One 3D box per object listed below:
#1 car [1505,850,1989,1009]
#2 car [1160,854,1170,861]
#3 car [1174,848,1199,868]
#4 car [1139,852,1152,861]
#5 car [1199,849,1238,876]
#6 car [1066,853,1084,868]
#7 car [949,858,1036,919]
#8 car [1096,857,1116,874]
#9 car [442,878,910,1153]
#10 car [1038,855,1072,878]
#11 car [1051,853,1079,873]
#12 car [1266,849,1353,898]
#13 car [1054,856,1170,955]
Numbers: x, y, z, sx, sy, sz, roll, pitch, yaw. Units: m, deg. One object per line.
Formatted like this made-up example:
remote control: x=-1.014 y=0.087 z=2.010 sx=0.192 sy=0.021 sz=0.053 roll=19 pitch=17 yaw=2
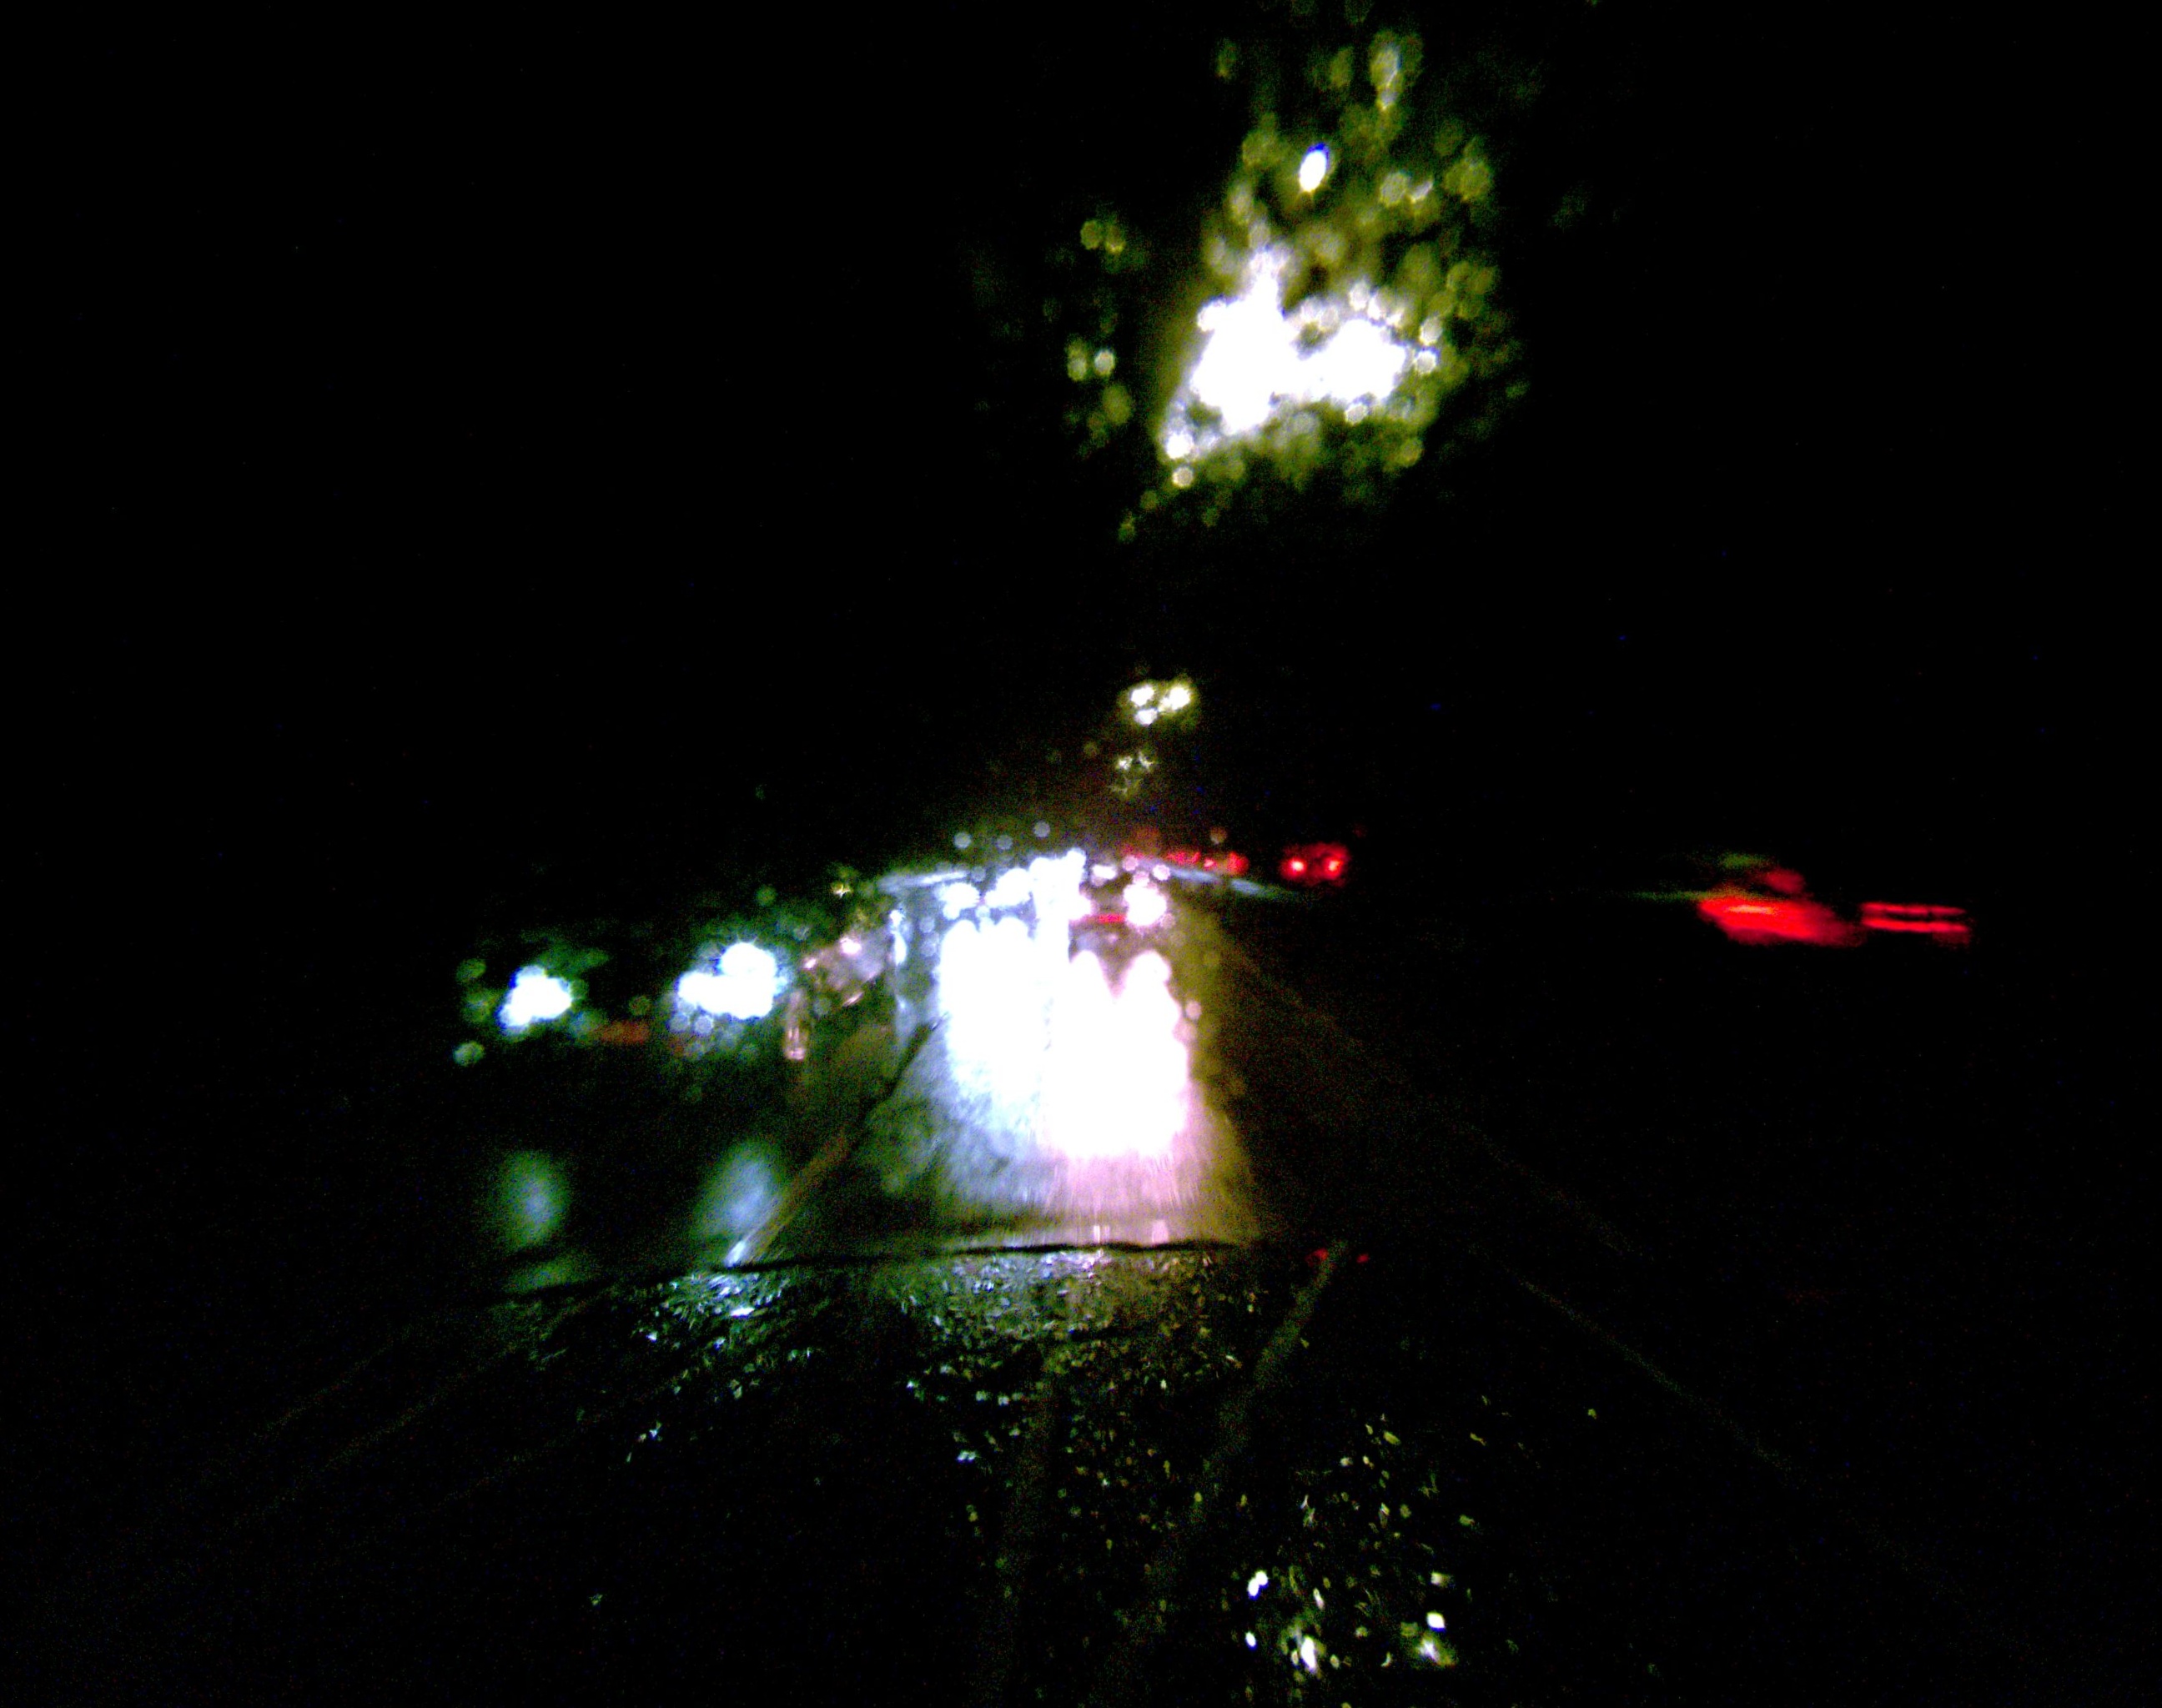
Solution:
car: x=7.301 y=0.690 z=9.139 sx=1.821 sy=1.386 sz=4.461 roll=2 pitch=0 yaw=-1
car: x=17.083 y=0.624 z=154.702 sx=1.614 sy=1.374 sz=4.164 roll=0 pitch=0 yaw=2
car: x=9.057 y=0.359 z=65.474 sx=1.624 sy=1.641 sz=3.999 roll=-1 pitch=1 yaw=0
car: x=11.446 y=0.458 z=134.894 sx=1.860 sy=1.467 sz=4.778 roll=-2 pitch=0 yaw=1
car: x=8.174 y=0.471 z=45.530 sx=1.571 sy=1.533 sz=4.161 roll=1 pitch=1 yaw=1
car: x=-0.697 y=0.754 z=92.364 sx=1.998 sy=1.657 sz=4.000 roll=-1 pitch=0 yaw=1
car: x=-2.474 y=0.934 z=22.362 sx=1.826 sy=1.476 sz=4.568 roll=-2 pitch=0 yaw=2
car: x=2.873 y=1.334 z=88.633 sx=1.999 sy=1.774 sz=3.999 roll=-3 pitch=1 yaw=-1
car: x=-3.023 y=1.071 z=7.047 sx=1.736 sy=1.440 sz=4.724 roll=-3 pitch=0 yaw=0
car: x=-1.768 y=0.840 z=52.851 sx=1.998 sy=1.455 sz=4.000 roll=-2 pitch=0 yaw=2
car: x=-1.297 y=0.705 z=63.445 sx=1.998 sy=1.531 sz=4.000 roll=-2 pitch=0 yaw=2
car: x=8.053 y=0.638 z=27.148 sx=1.813 sy=1.559 sz=4.000 roll=2 pitch=0 yaw=0
car: x=0.547 y=0.833 z=14.009 sx=1.764 sy=1.492 sz=4.001 roll=-3 pitch=-1 yaw=2
